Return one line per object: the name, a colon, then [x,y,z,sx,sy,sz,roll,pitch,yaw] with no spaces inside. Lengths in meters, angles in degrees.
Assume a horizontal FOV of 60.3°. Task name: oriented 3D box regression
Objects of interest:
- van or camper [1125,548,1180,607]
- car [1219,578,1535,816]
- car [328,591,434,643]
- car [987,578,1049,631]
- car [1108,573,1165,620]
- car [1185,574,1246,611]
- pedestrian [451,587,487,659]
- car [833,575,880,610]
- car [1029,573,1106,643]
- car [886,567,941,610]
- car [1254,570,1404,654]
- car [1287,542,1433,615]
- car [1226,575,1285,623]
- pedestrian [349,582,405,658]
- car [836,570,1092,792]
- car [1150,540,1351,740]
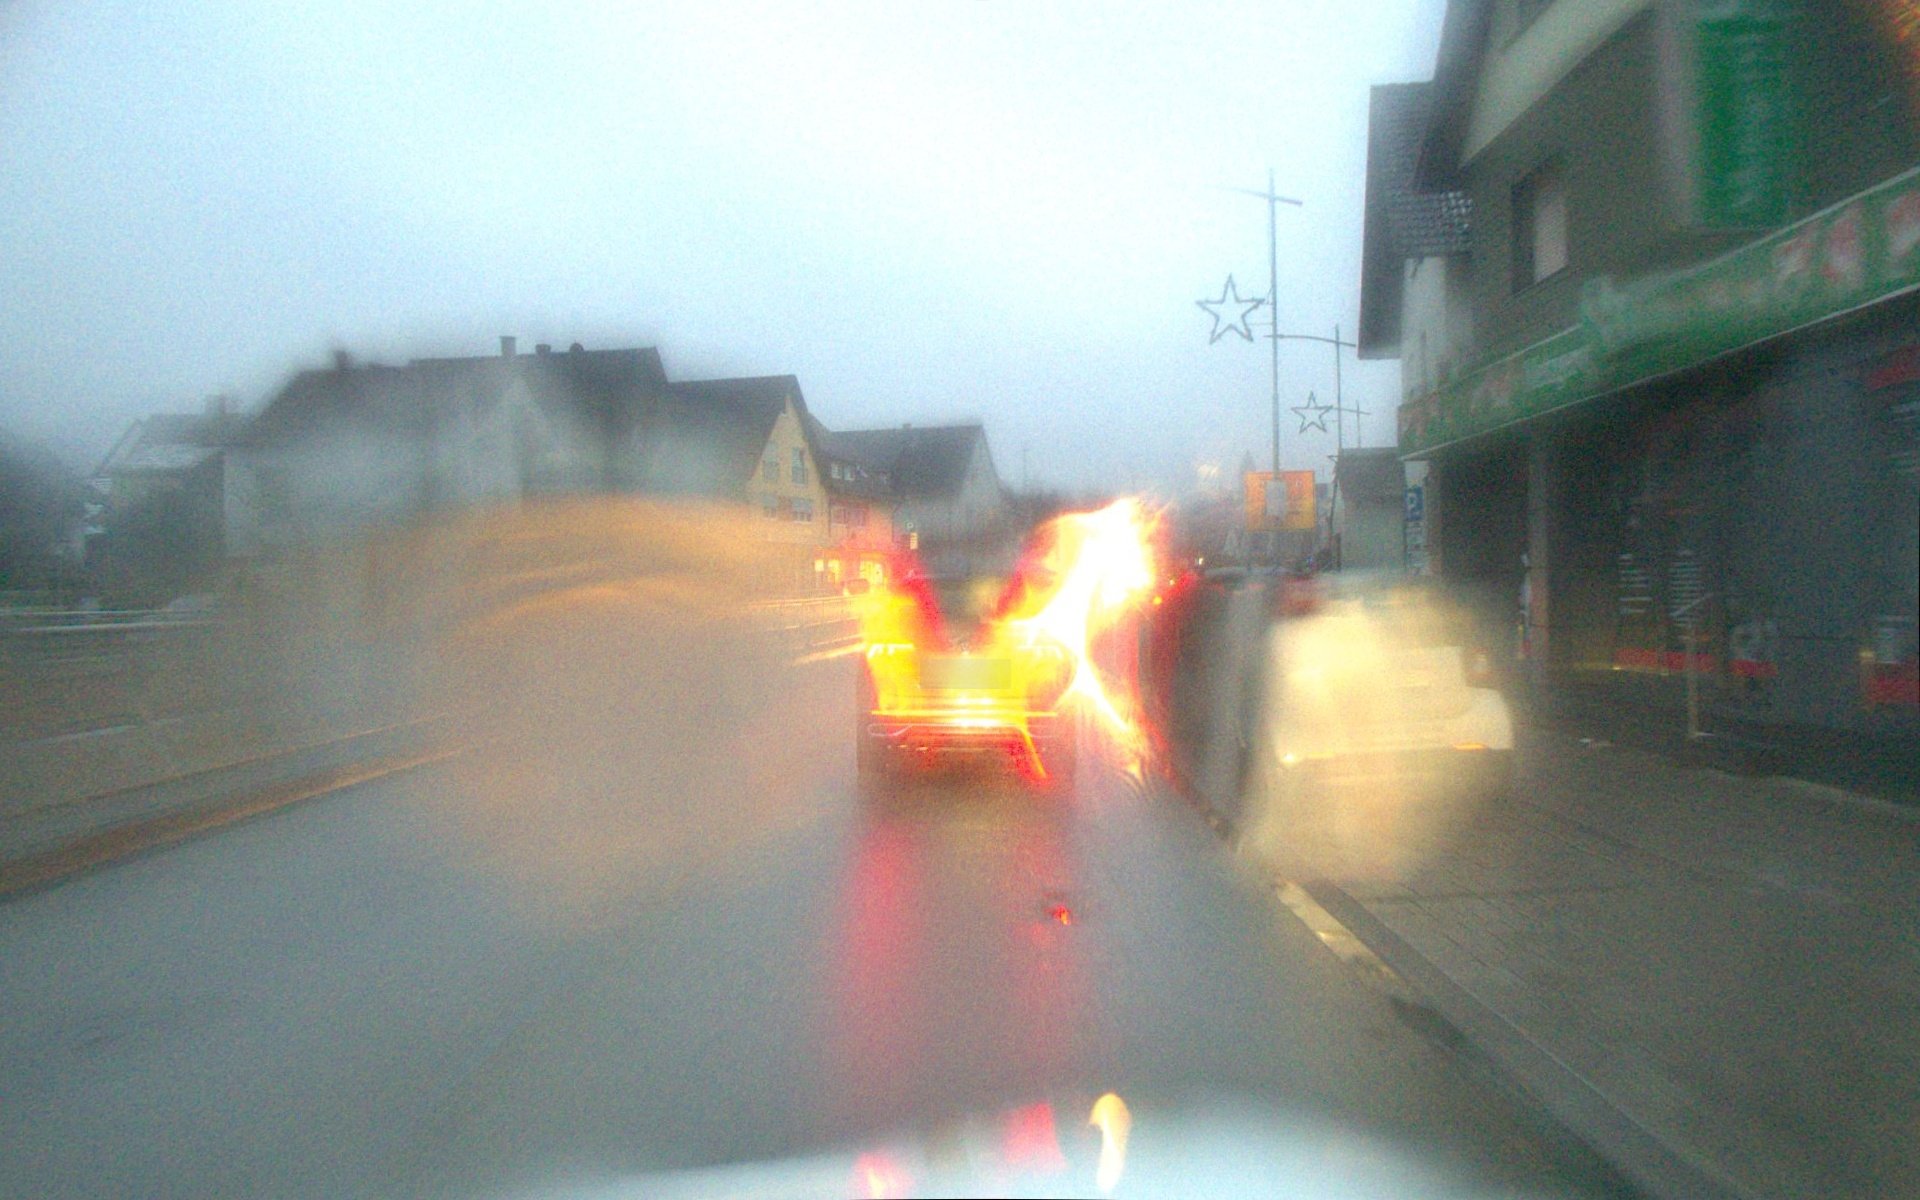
van or camper: [9.434,-1.127,80.537,2.192,2.715,6.562,-1,1,11]
car: [2.918,0.609,12.093,1.611,1.440,2.728,-3,1,1]
car: [-17.073,0.476,48.900,1.450,1.452,3.462,-1,0,9]
car: [1.918,0.120,53.782,1.627,1.664,3.554,0,1,8]
car: [5.809,-0.135,54.308,1.776,1.436,4.004,0,2,6]
car: [10.381,-0.329,66.987,1.951,1.416,4.003,-1,1,16]
pedestrian: [-11.876,0.542,40.016,0.649,1.727,0.542,0,1,11]
car: [-5.101,-0.401,80.960,1.789,1.641,4.046,-1,1,-11]
car: [2.388,0.174,37.351,1.647,1.478,4.001,0,0,3]
car: [-2.306,-0.582,80.375,2.001,1.959,4.046,-1,1,-11]
car: [7.010,0.203,31.806,1.730,1.418,3.911,-3,1,-4]
car: [12.411,-0.667,51.503,4.089,1.666,1.805,-8,0,8]
car: [13.982,-0.077,78.025,2.112,2.025,4.502,-4,0,17]
pedestrian: [-14.232,0.468,40.407,0.908,1.815,0.974,0,1,11]
car: [-0.066,0.570,14.606,1.925,1.622,4.311,0,2,-3]
car: [3.020,0.358,17.905,1.732,1.813,4.003,-4,0,6]
